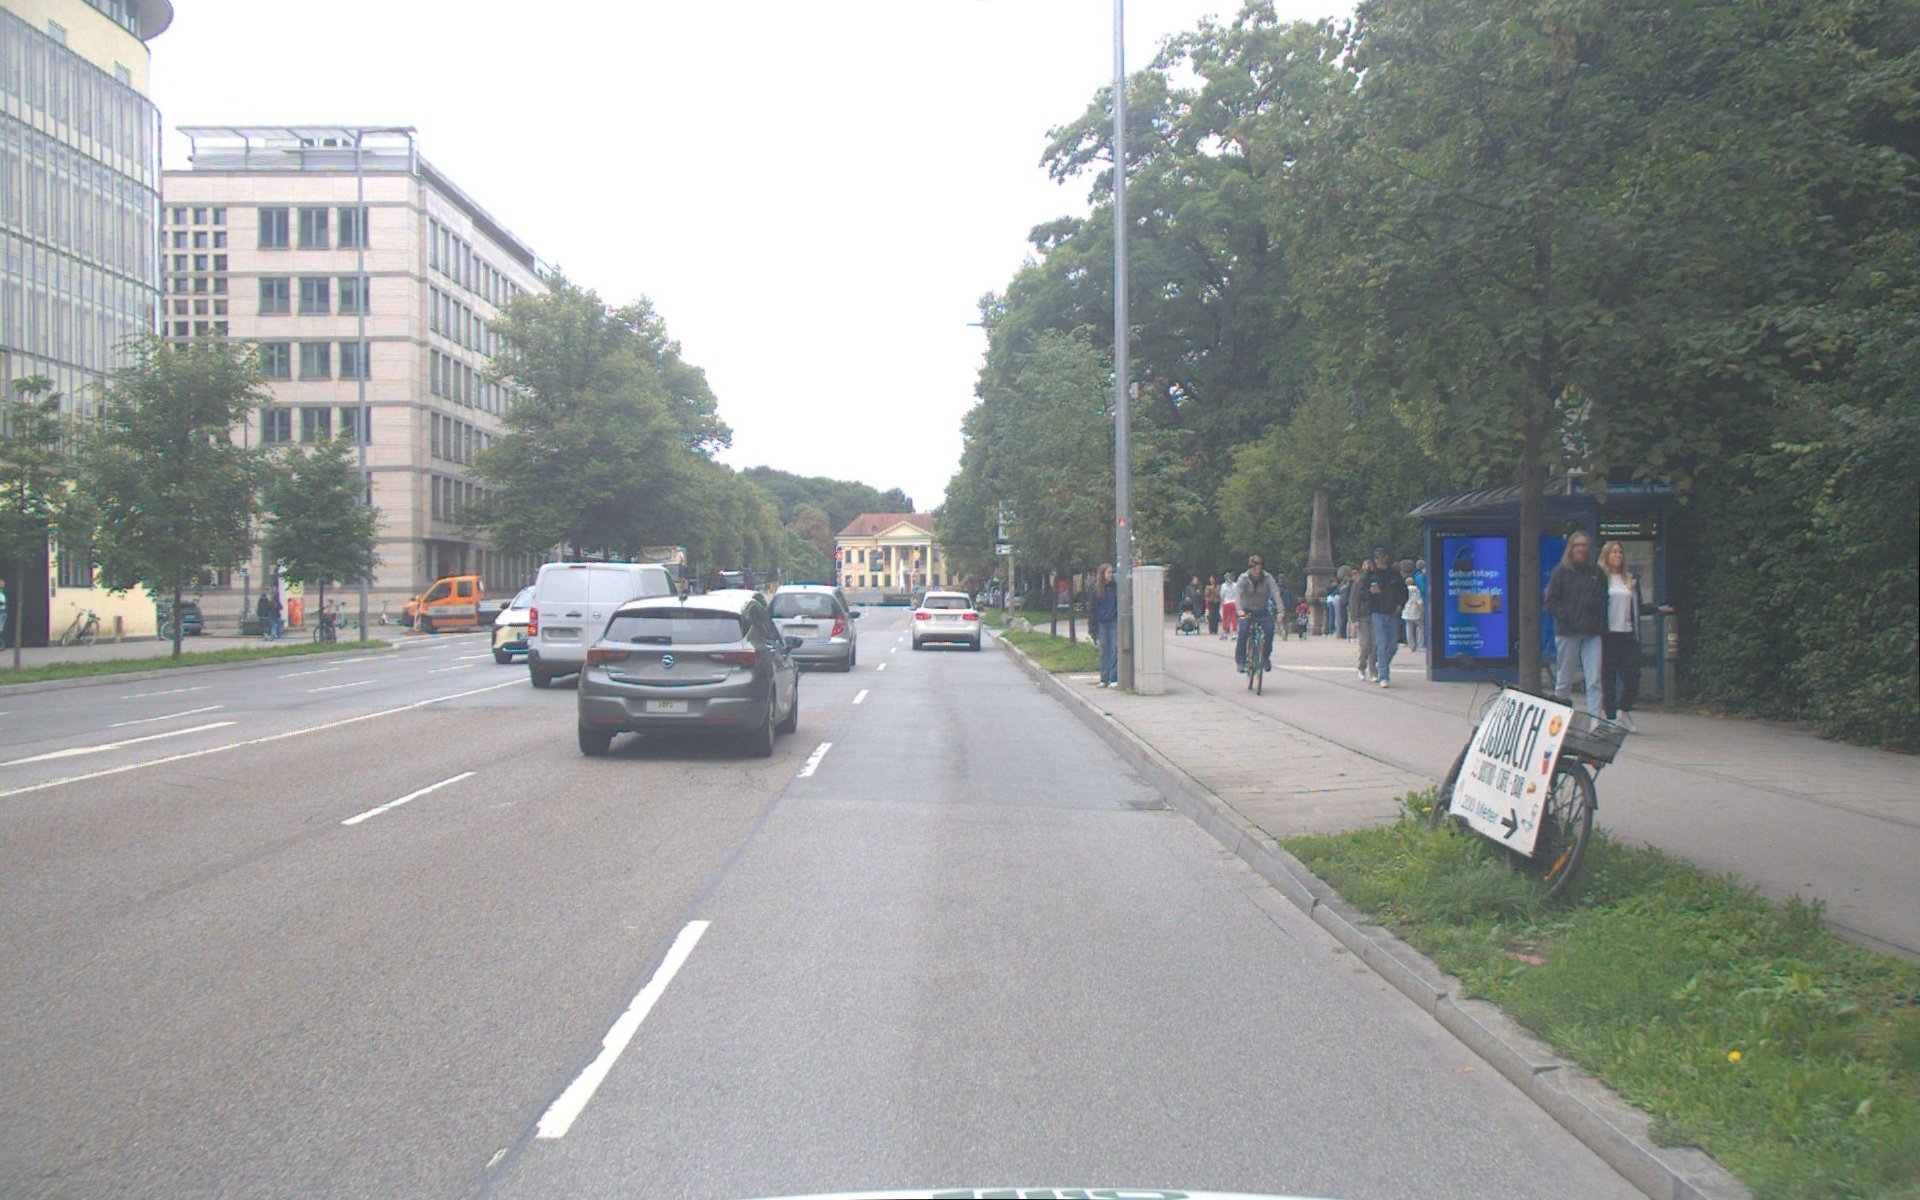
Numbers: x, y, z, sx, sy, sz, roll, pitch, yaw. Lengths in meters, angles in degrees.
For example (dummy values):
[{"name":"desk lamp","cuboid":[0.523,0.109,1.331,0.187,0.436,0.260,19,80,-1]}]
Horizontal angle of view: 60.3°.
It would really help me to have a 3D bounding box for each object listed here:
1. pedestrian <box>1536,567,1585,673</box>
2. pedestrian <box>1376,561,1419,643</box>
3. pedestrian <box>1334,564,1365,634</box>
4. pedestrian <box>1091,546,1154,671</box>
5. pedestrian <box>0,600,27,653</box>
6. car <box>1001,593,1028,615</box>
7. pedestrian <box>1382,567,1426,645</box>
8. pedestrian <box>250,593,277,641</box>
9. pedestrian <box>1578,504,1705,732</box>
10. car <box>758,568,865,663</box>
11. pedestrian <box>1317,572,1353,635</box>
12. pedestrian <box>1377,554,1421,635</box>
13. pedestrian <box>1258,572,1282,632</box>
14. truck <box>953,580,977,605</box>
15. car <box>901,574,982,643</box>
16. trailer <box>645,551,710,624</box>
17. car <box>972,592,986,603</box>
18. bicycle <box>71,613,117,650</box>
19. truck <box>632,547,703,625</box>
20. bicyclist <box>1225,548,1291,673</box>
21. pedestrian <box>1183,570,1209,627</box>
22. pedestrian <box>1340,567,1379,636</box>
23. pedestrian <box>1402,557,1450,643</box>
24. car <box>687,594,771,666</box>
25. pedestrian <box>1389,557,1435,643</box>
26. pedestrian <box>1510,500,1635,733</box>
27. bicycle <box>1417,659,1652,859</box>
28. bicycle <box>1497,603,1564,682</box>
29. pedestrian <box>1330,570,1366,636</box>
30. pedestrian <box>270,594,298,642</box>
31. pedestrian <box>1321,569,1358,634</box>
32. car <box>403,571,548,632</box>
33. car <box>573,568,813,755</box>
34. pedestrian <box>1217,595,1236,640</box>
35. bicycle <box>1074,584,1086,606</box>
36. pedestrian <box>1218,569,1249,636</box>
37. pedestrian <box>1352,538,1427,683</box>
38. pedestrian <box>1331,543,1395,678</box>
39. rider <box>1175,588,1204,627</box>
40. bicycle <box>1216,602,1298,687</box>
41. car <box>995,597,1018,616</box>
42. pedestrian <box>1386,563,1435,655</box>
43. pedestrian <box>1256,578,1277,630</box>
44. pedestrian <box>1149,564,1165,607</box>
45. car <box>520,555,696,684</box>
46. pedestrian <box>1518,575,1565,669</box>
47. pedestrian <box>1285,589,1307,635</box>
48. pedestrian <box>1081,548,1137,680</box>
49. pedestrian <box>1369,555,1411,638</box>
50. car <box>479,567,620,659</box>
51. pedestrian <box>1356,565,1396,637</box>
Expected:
[{"name":"pedestrian","cuboid":[10.384,0.343,28.620,0.623,1.799,0.533,1,-1,2]},{"name":"pedestrian","cuboid":[10.299,0.050,38.964,0.795,1.907,0.729,1,-1,2]},{"name":"pedestrian","cuboid":[9.619,-0.020,40.901,0.579,1.720,0.729,1,-1,2]},{"name":"pedestrian","cuboid":[2.535,0.130,25.807,0.790,1.914,0.542,1,-1,35]},{"name":"pedestrian","cuboid":[-25.379,0.687,43.720,0.820,1.388,1.086,0,0,-1]},{"name":"car","cuboid":[3.974,0.303,120.607,1.790,1.577,4.751,0,0,0]},{"name":"pedestrian","cuboid":[10.059,0.133,37.483,0.795,1.720,0.674,1,-1,2]},{"name":"pedestrian","cuboid":[-26.586,0.658,63.120,0.668,1.806,0.675,1,-1,3]},{"name":"pedestrian","cuboid":[6.066,0.159,14.762,0.693,1.949,0.956,1,-1,-1]},{"name":"car","cuboid":[-2.815,0.294,32.050,1.743,1.683,3.999,1,0,-1]},{"name":"pedestrian","cuboid":[10.319,0.096,45.552,0.795,1.720,0.729,1,-1,2]},{"name":"pedestrian","cuboid":[10.139,-0.129,38.211,0.795,1.821,0.729,1,-1,2]},{"name":"pedestrian","cuboid":[8.141,0.058,43.441,0.538,1.554,0.648,1,-1,4]},{"name":"truck","cuboid":[0.737,-1.056,242.527,3.258,3.426,8.661,1,0,-1]},{"name":"car","cuboid":[-0.525,0.218,43.121,1.745,1.673,3.995,1,0,-6]},{"name":"trailer","cuboid":[-15.968,-0.665,94.115,2.893,3.805,11.753,1,0,-6]},{"name":"car","cuboid":[2.293,-0.303,205.198,1.689,1.347,4.027,0,0,0]},{"name":"bicycle","cuboid":[-24.936,0.904,47.651,0.561,1.030,1.592,1,0,-4]},{"name":"truck","cuboid":[-15.228,-0.695,86.614,2.859,3.841,7.658,1,0,-5]},{"name":"bicyclist","cuboid":[3.870,0.133,21.515,0.693,1.589,0.639,1,-1,-1]},{"name":"pedestrian","cuboid":[7.201,-0.041,50.458,0.711,1.720,0.648,1,-1,4]},{"name":"pedestrian","cuboid":[10.139,0.049,42.017,0.795,1.720,0.729,-1,-1,2]},{"name":"pedestrian","cuboid":[9.910,0.003,35.177,0.795,1.799,0.729,1,-1,2]},{"name":"car","cuboid":[-5.814,0.733,42.006,1.744,1.683,3.997,1,0,-3]},{"name":"pedestrian","cuboid":[10.046,0.003,36.767,0.795,1.884,0.729,1,-1,2]},{"name":"pedestrian","cuboid":[5.316,0.139,14.400,0.693,1.949,0.956,1,-1,-1]},{"name":"bicycle","cuboid":[2.794,0.735,8.236,0.483,0.808,1.889,1,0,0]},{"name":"bicycle","cuboid":[8.189,0.589,23.787,0.385,1.079,1.576,1,0,-1]},{"name":"pedestrian","cuboid":[10.272,0.073,43.776,0.795,1.720,0.729,0,-1,2]},{"name":"pedestrian","cuboid":[-25.828,0.677,63.241,0.668,1.806,0.784,1,-1,3]},{"name":"pedestrian","cuboid":[10.221,0.040,44.568,0.795,1.720,0.729,-1,-1,2]},{"name":"car","cuboid":[-20.616,0.056,70.560,5.569,2.581,2.154,0,0,-5]},{"name":"car","cuboid":[-2.496,0.545,16.347,1.675,1.579,4.000,1,0,0]},{"name":"pedestrian","cuboid":[10.119,0.671,62.788,0.618,1.696,0.573,1,-1,15]},{"name":"bicycle","cuboid":[5.743,-0.233,79.092,0.376,1.039,2.079,1,0,0]},{"name":"pedestrian","cuboid":[7.076,0.068,42.805,0.711,1.720,0.648,1,-1,4]},{"name":"pedestrian","cuboid":[5.638,0.139,21.727,0.693,1.840,0.950,1,-1,-1]},{"name":"pedestrian","cuboid":[5.595,0.144,23.010,0.693,1.840,0.639,1,-1,-1]},{"name":"rider","cuboid":[6.828,0.237,49.307,0.749,1.131,1.245,1,0,4]},{"name":"bicycle","cuboid":[3.860,0.558,21.631,0.661,1.048,2.012,1,0,-1]},{"name":"car","cuboid":[3.742,0.509,132.412,1.689,1.490,4.775,0,0,0]},{"name":"pedestrian","cuboid":[9.342,0.185,34.302,0.795,1.861,0.729,1,-1,2]},{"name":"pedestrian","cuboid":[8.097,0.103,43.672,0.448,1.349,0.648,1,-1,4]},{"name":"pedestrian","cuboid":[8.645,-0.635,72.493,0.576,1.854,0.850,1,-1,0]},{"name":"car","cuboid":[-5.520,0.309,26.583,1.860,1.880,4.954,0,-1,-1]},{"name":"pedestrian","cuboid":[10.350,0.390,29.447,0.623,1.655,0.533,1,-1,2]},{"name":"pedestrian","cuboid":[8.727,0.310,42.990,0.448,1.173,0.648,1,-1,4]},{"name":"pedestrian","cuboid":[2.111,0.198,23.490,0.693,1.840,0.639,1,-1,-1]},{"name":"pedestrian","cuboid":[10.328,-0.077,39.738,0.795,1.950,0.729,1,-1,2]},{"name":"car","cuboid":[-8.636,0.259,35.176,1.819,1.779,4.629,-1,0,0]},{"name":"pedestrian","cuboid":[10.353,0.019,41.219,0.795,1.769,0.729,1,-1,2]}]
